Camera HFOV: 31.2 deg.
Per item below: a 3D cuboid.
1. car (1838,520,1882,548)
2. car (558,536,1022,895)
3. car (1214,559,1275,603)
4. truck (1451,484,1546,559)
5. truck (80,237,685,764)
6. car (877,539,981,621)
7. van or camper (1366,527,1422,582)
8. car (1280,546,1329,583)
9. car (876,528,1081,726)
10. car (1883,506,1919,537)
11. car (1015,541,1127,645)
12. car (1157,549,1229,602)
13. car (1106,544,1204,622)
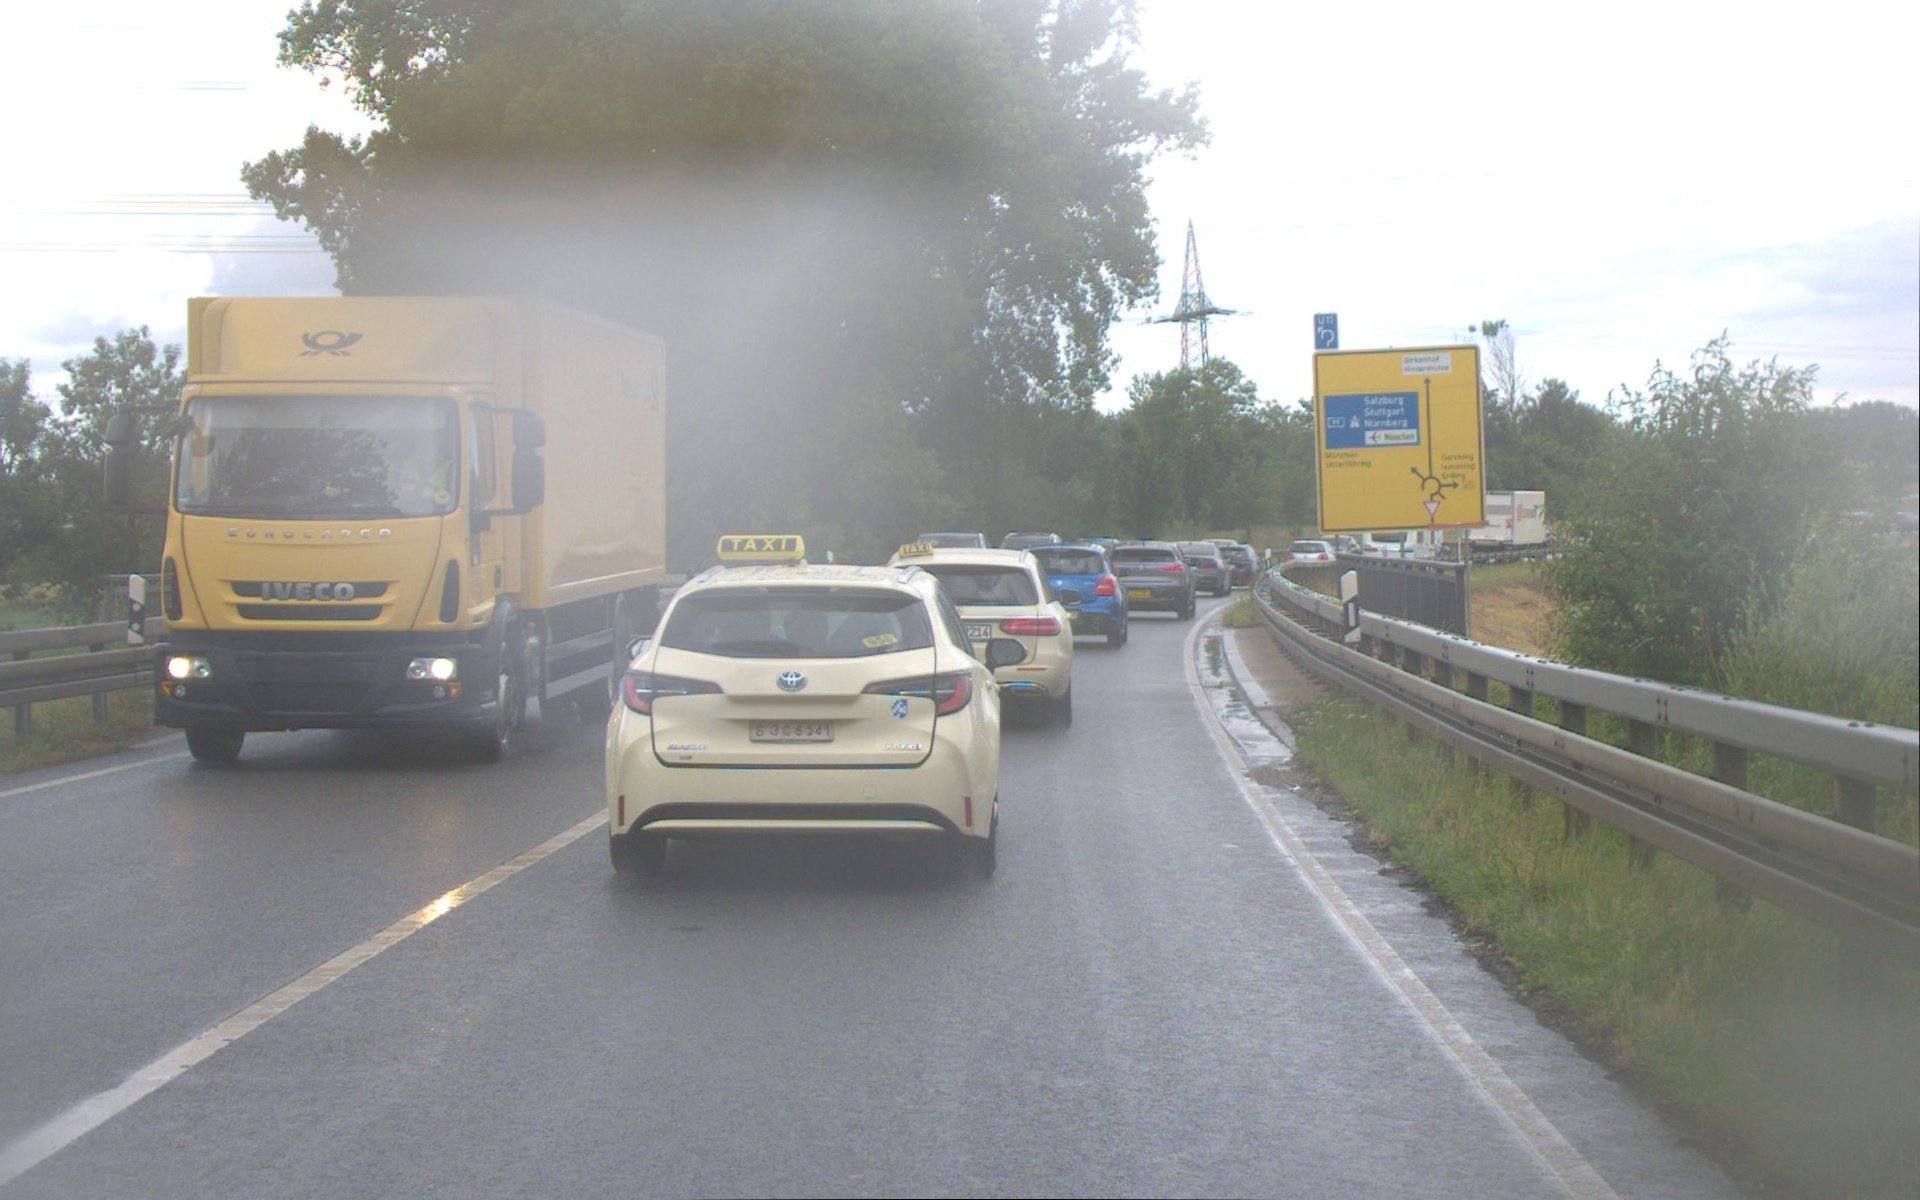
[{"bbox_3d":[60.498,-4.454,231.062,1.822,1.831,3.982,1,0,30],"label":"car"},{"bbox_3d":[-0.697,0.468,16.846,1.906,1.532,4.161,0,1,2],"label":"car"},{"bbox_3d":[8.848,-0.601,106.683,1.483,1.304,3.475,0,1,12],"label":"car"},{"bbox_3d":[26.490,-3.818,168.845,3.143,3.550,7.514,1,0,20],"label":"truck"},{"bbox_3d":[-4.175,-0.728,27.192,2.771,3.417,9.187,1,1,3],"label":"truck"},{"bbox_3d":[-0.634,-0.457,73.818,1.746,1.648,4.524,0,2,6],"label":"car"},{"bbox_3d":[18.162,-1.881,143.802,1.994,2.246,3.998,1,0,11],"label":"van or camper"},{"bbox_3d":[12.447,-1.283,123.984,1.483,1.304,3.475,0,1,10],"label":"car"},{"bbox_3d":[0.214,0.191,29.189,1.578,1.567,3.681,0,1,3],"label":"car"},{"bbox_3d":[65.324,-5.416,237.447,1.997,2.007,3.993,1,0,31],"label":"car"},{"bbox_3d":[1.618,-0.119,49.402,1.506,1.432,3.355,1,1,3],"label":"car"},{"bbox_3d":[6.373,-0.657,93.707,1.661,1.404,3.903,0,0,8],"label":"car"},{"bbox_3d":[3.761,-0.343,65.919,1.665,1.459,3.476,0,1,7],"label":"car"}]
